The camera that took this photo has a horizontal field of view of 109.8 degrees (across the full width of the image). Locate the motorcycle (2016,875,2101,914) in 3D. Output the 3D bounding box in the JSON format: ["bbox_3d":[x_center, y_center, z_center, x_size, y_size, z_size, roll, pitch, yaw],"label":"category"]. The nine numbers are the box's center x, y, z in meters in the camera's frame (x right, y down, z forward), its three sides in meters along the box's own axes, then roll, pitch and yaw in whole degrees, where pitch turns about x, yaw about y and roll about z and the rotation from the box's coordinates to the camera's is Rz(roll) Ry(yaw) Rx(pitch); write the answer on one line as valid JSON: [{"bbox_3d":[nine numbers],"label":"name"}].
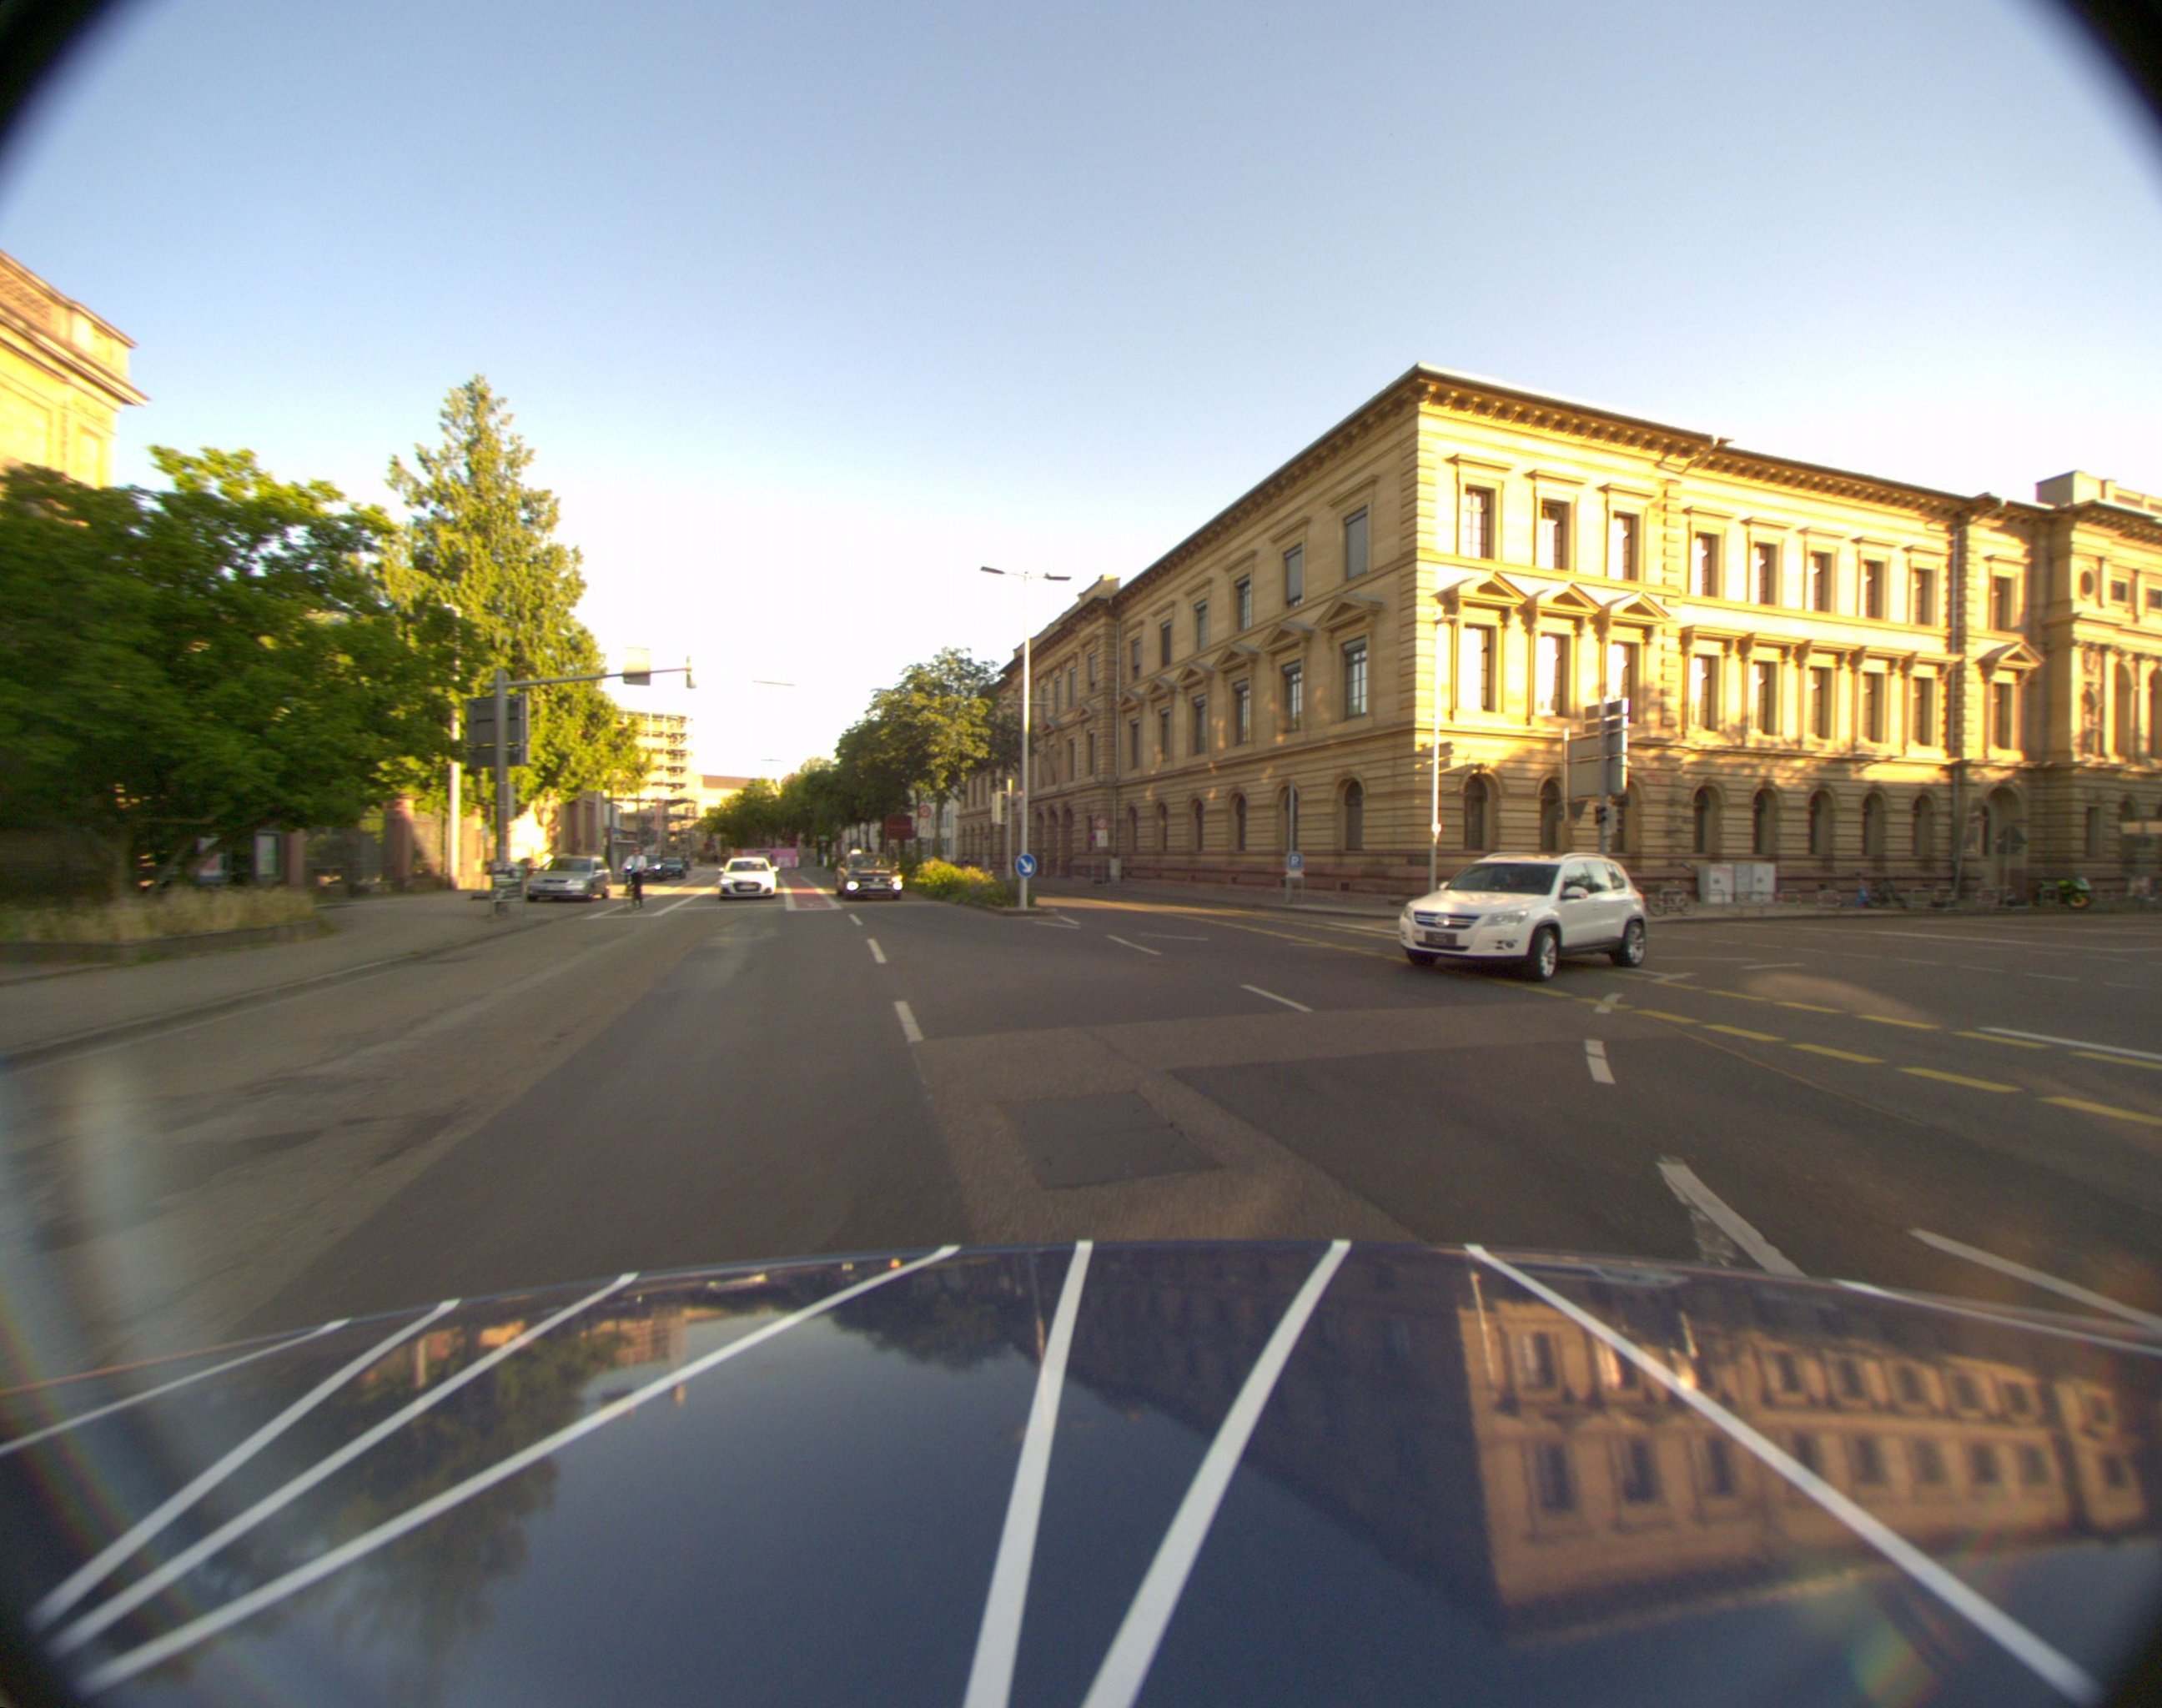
[{"bbox_3d":[35.793,1.452,27.875,0.709,1.208,2.106,2,2,13],"label":"motorcycle"}]

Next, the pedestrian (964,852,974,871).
[{"bbox_3d":[-10.827,0.693,73.367,0.775,1.842,0.810,1,1,-22],"label":"pedestrian"}]

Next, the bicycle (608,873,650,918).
[{"bbox_3d":[-12.174,1.085,20.509,0.496,1.094,1.665,-1,1,-14],"label":"bicycle"}]

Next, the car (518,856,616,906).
[{"bbox_3d":[-16.476,0.816,24.569,1.717,1.436,4.191,1,0,-21],"label":"car"}]

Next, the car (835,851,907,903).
[{"bbox_3d":[-7.204,0.715,25.796,1.837,1.603,4.068,0,1,-23],"label":"car"}]

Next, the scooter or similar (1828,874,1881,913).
[{"bbox_3d":[25.973,1.314,25.527,0.583,1.189,1.133,1,3,2],"label":"scooter or similar"}]

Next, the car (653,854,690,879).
[{"bbox_3d":[-25.845,0.747,48.073,1.690,1.483,4.068,0,1,-23],"label":"car"}]

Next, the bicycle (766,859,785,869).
[{"bbox_3d":[-26.607,0.892,66.189,0.589,0.835,1.749,1,0,12],"label":"bicycle"}]

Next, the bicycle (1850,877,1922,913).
[{"bbox_3d":[27.373,1.377,25.843,1.945,1.128,0.828,1,3,-16],"label":"bicycle"}]

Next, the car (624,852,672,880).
[{"bbox_3d":[-24.237,0.622,42.642,1.837,1.483,4.068,0,1,-23],"label":"car"}]

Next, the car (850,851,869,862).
[{"bbox_3d":[-34.579,0.331,118.541,1.721,1.649,3.815,1,0,-33],"label":"car"}]

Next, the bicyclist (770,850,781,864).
[{"bbox_3d":[-26.593,0.298,66.163,0.589,1.216,0.798,1,0,11],"label":"bicyclist"}]

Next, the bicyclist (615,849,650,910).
[{"bbox_3d":[-12.287,0.689,20.834,0.667,1.634,0.520,-1,2,-15],"label":"bicyclist"}]

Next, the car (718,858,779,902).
[{"bbox_3d":[-11.678,0.846,26.795,1.837,1.383,4.014,0,1,-23],"label":"car"}]

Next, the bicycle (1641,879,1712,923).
[{"bbox_3d":[17.172,1.335,21.908,1.921,1.181,0.583,-1,1,-16],"label":"bicycle"}]

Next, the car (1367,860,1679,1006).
[{"bbox_3d":[6.376,0.934,10.817,4.551,1.667,1.953,0,0,-33],"label":"car"}]
